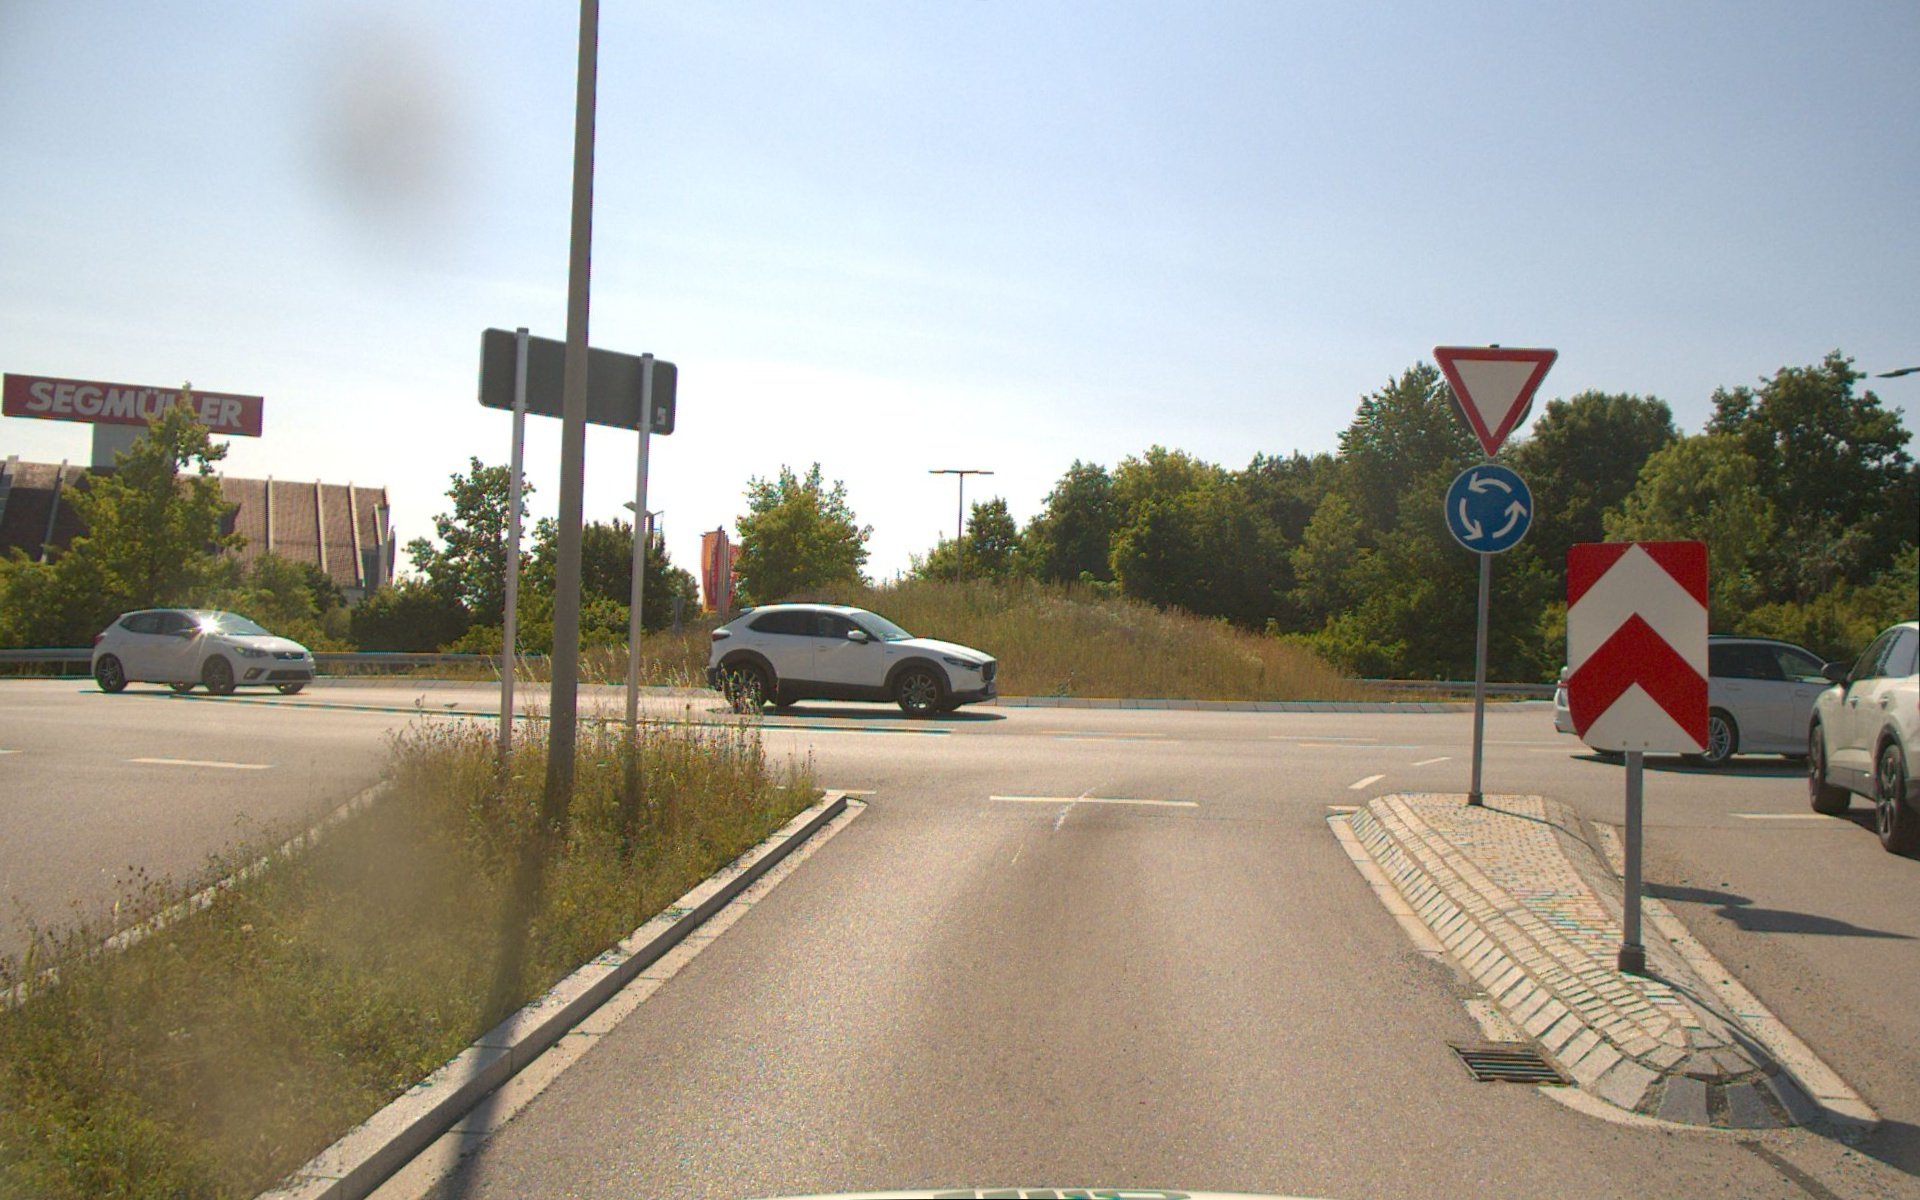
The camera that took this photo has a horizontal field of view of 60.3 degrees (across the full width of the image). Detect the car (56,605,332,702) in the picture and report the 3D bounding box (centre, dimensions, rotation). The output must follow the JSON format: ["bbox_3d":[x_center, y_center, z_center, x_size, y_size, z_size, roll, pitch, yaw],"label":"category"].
[{"bbox_3d":[-13.211,0.896,28.524,4.312,1.429,1.791,2,-1,21],"label":"car"}]

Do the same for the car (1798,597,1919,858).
[{"bbox_3d":[7.426,0.853,11.890,1.802,1.624,4.326,1,-1,18],"label":"car"}]

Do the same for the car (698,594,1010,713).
[{"bbox_3d":[-1.526,0.760,24.271,4.183,1.557,1.793,1,-1,16],"label":"car"}]

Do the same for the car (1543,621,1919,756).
[{"bbox_3d":[9.096,1.020,19.222,4.256,1.375,1.566,3,-1,-16],"label":"car"}]
